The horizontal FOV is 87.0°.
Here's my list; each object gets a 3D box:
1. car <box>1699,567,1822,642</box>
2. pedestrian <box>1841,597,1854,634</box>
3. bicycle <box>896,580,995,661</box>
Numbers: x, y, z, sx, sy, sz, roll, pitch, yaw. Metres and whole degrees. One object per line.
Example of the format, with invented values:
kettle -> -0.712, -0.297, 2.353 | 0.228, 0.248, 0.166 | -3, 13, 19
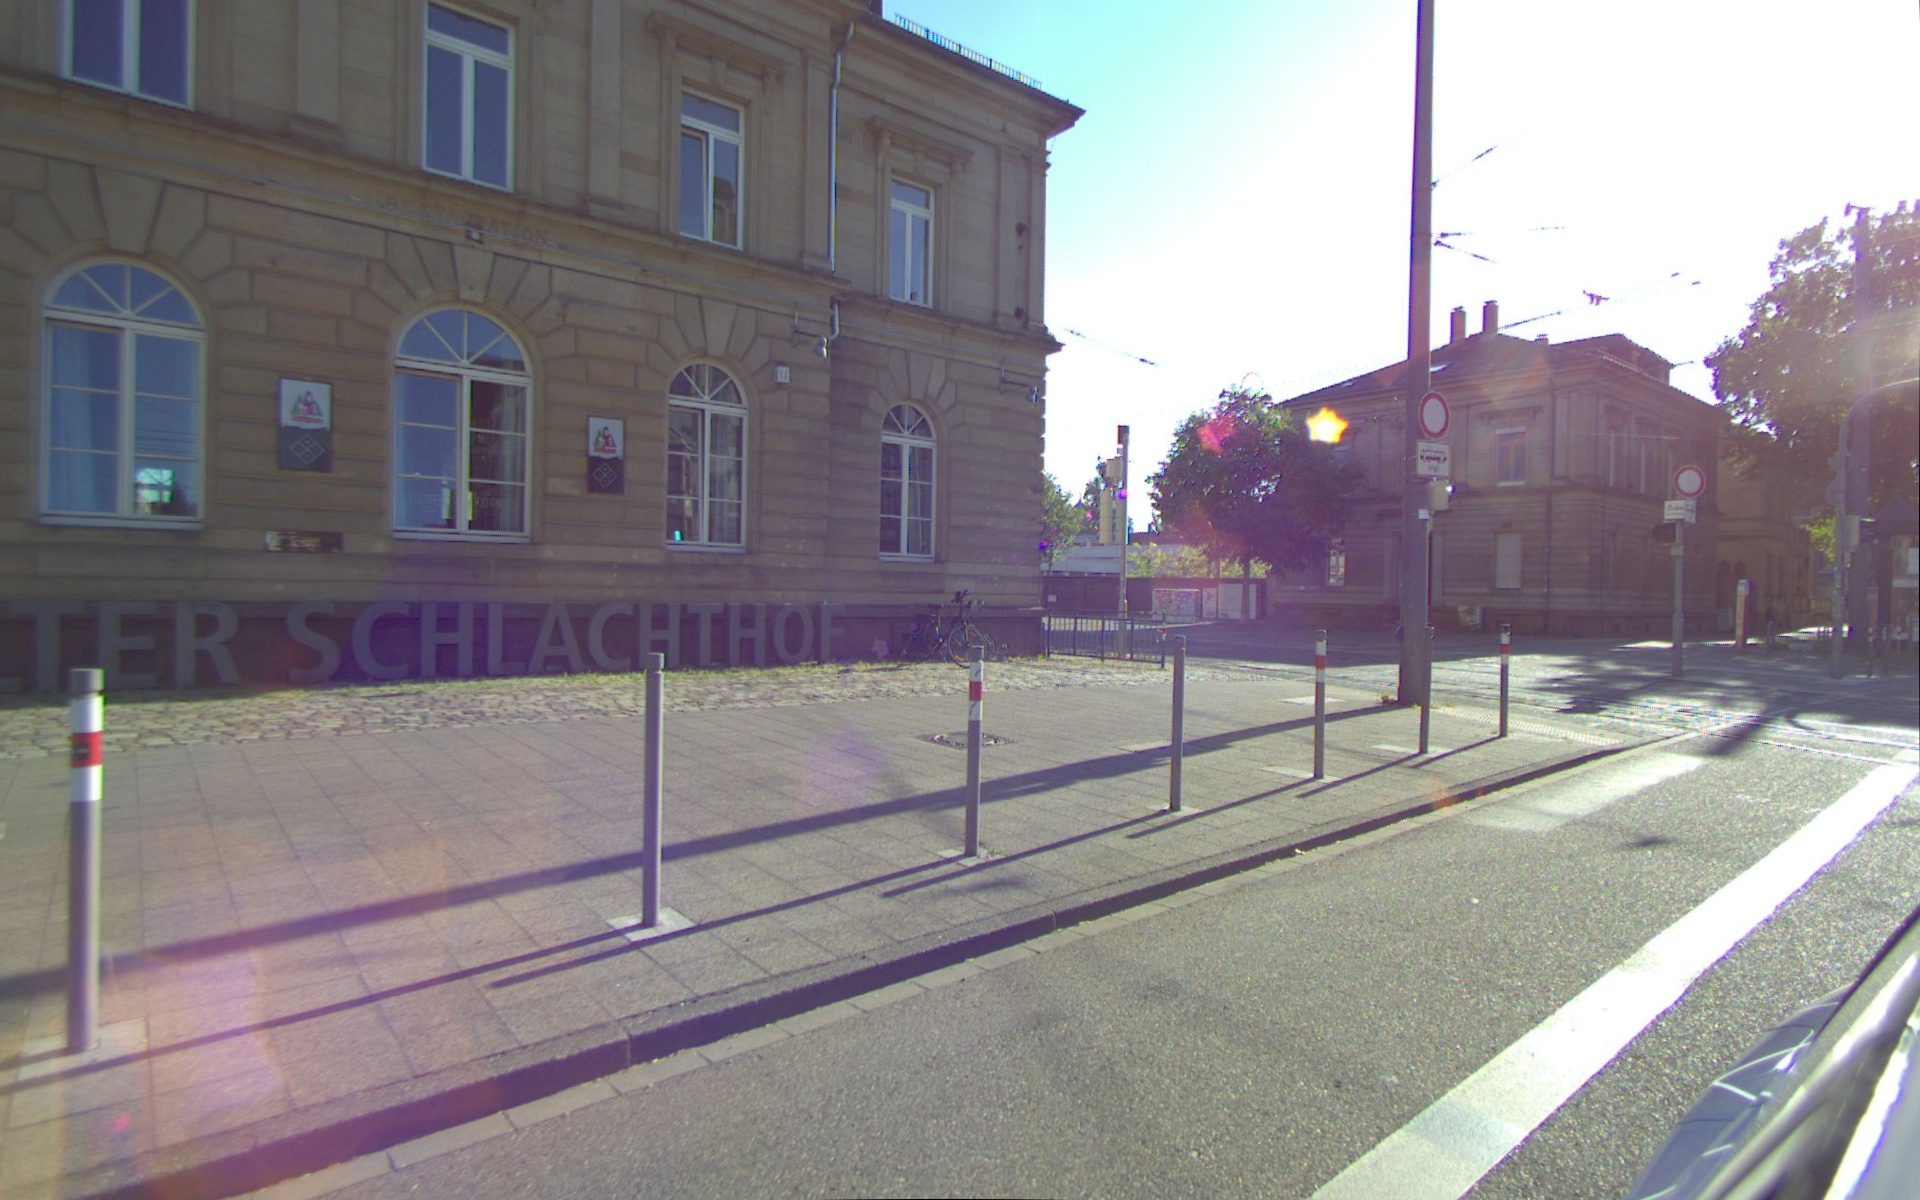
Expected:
car -> 23.441, 0.107, 29.616 | 3.925, 2.072, 1.834 | 0, 0, -36
pedestrian -> 40.440, 0.698, 46.098 | 0.383, 1.665, 0.364 | 1, 0, -38
bicycle -> -0.254, 0.308, 16.285 | 0.678, 1.195, 1.649 | 1, 2, -41
